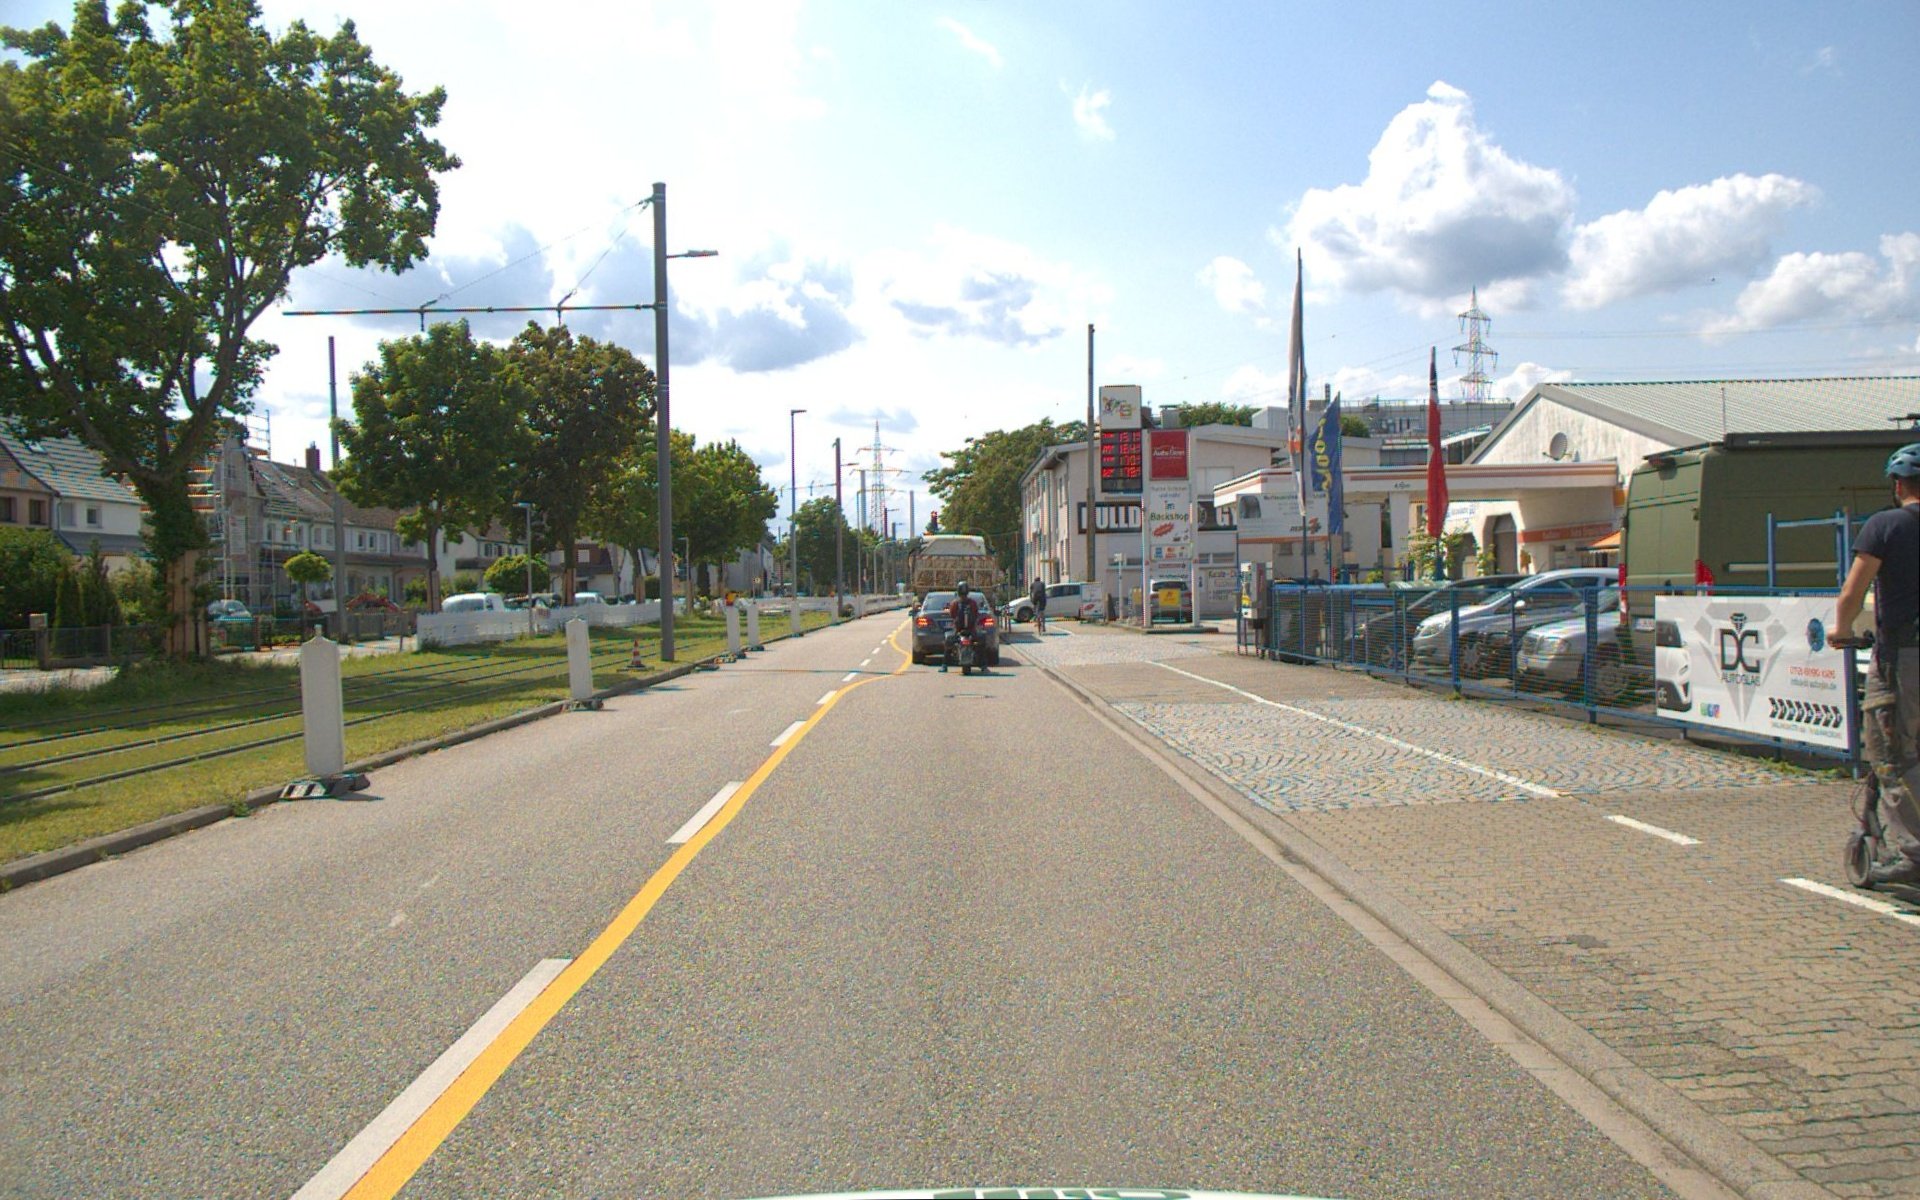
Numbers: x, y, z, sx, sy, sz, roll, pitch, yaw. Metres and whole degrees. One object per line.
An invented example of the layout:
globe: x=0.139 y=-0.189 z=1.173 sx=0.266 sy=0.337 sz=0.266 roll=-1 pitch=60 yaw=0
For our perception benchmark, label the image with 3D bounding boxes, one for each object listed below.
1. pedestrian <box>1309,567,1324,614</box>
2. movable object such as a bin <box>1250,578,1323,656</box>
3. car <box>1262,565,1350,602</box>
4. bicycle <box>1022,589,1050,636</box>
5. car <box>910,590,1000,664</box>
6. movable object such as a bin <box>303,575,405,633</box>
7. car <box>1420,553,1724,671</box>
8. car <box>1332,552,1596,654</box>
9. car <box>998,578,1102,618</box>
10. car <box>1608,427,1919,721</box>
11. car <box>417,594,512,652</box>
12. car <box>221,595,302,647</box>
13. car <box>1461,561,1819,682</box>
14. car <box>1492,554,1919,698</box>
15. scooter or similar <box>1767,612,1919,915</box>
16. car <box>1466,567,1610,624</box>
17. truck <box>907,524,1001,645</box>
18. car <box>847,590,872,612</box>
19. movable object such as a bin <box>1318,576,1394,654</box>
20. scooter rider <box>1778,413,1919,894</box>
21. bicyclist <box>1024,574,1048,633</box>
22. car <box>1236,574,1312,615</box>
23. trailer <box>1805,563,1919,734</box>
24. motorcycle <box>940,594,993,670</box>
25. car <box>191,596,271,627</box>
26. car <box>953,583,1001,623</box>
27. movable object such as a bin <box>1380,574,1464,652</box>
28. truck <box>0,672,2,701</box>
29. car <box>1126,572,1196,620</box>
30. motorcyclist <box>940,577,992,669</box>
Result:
pedestrian: x=13.137 y=-0.350 z=60.957 sx=0.388 sy=1.718 sz=0.485 roll=-2 pitch=0 yaw=0
movable object such as a bin: x=6.445 y=0.331 z=32.678 sx=1.230 sy=1.469 sz=0.824 roll=-2 pitch=0 yaw=0
car: x=17.232 y=-0.813 z=82.557 sx=3.906 sy=1.677 sz=1.965 roll=-2 pitch=0 yaw=-2
bicycle: x=2.358 y=0.369 z=51.475 sx=0.679 sy=1.385 sz=2.418 roll=-2 pitch=0 yaw=-1
car: x=-0.118 y=0.534 z=35.156 sx=1.784 sy=1.449 sz=4.000 roll=-1 pitch=0 yaw=-1
movable object such as a bin: x=-27.637 y=0.170 z=75.456 sx=4.277 sy=2.492 sz=1.776 roll=-2 pitch=0 yaw=-23
car: x=8.666 y=0.174 z=23.762 sx=3.902 sy=1.522 sz=1.752 roll=-2 pitch=0 yaw=15
car: x=8.052 y=0.057 z=26.593 sx=3.903 sy=1.468 sz=1.711 roll=-2 pitch=0 yaw=17
car: x=3.929 y=-0.075 z=72.618 sx=4.250 sy=1.578 sz=1.946 roll=-2 pitch=0 yaw=-9
car: x=8.979 y=-0.274 z=16.095 sx=4.443 sy=2.618 sz=2.151 roll=-2 pitch=0 yaw=1
car: x=-16.433 y=0.730 z=55.032 sx=1.953 sy=1.780 sz=3.999 roll=-2 pitch=0 yaw=-1
car: x=-25.357 y=0.749 z=60.123 sx=1.650 sy=1.752 sz=3.030 roll=-2 pitch=0 yaw=-1
car: x=8.626 y=0.269 z=21.288 sx=3.902 sy=1.379 sz=1.822 roll=-2 pitch=0 yaw=7
car: x=8.392 y=0.287 z=18.892 sx=4.095 sy=1.456 sz=1.822 roll=-2 pitch=0 yaw=6
scooter or similar: x=4.192 y=0.679 z=7.156 sx=0.529 sy=1.216 sz=1.610 roll=-3 pitch=0 yaw=-1
car: x=15.505 y=-0.119 z=44.461 sx=3.253 sy=1.384 sz=1.612 roll=-2 pitch=0 yaw=-1
truck: x=-0.172 y=-0.561 z=51.489 sx=2.557 sy=3.312 sz=9.183 roll=-2 pitch=1 yaw=0
car: x=-6.989 y=0.065 z=115.472 sx=1.622 sy=1.472 sz=4.301 roll=-2 pitch=1 yaw=-2
movable object such as a bin: x=7.794 y=0.290 z=32.587 sx=1.230 sy=1.469 sz=0.824 roll=-2 pitch=0 yaw=0
scooter rider: x=4.247 y=0.210 z=7.318 sx=0.702 sy=1.997 sz=0.785 roll=-4 pitch=-2 yaw=0
bicyclist: x=2.359 y=0.105 z=51.273 sx=0.657 sy=1.774 sz=0.813 roll=-1 pitch=0 yaw=-1
car: x=11.900 y=-0.191 z=62.834 sx=1.920 sy=1.445 sz=3.998 roll=-2 pitch=0 yaw=-3
trailer: x=8.851 y=0.333 z=13.955 sx=2.725 sy=1.356 sz=1.303 roll=-3 pitch=0 yaw=-1
motorcycle: x=0.098 y=0.572 z=30.684 sx=0.920 sy=1.343 sz=2.644 roll=1 pitch=0 yaw=-1
car: x=-27.853 y=0.437 z=63.313 sx=1.653 sy=1.071 sz=3.974 roll=-2 pitch=0 yaw=-7
car: x=0.638 y=0.085 z=64.362 sx=1.784 sy=1.489 sz=4.000 roll=-1 pitch=0 yaw=0
movable object such as a bin: x=9.099 y=0.248 z=32.614 sx=1.295 sy=1.469 sz=0.953 roll=-2 pitch=0 yaw=-8
truck: x=-15.764 y=0.267 z=22.262 sx=1.953 sy=2.815 sz=6.275 roll=-4 pitch=1 yaw=-1
car: x=7.487 y=-0.144 z=62.055 sx=1.920 sy=1.677 sz=3.998 roll=-2 pitch=0 yaw=-3
motorcyclist: x=0.104 y=0.417 z=30.504 sx=0.920 sy=1.643 sz=1.204 roll=1 pitch=0 yaw=-1
